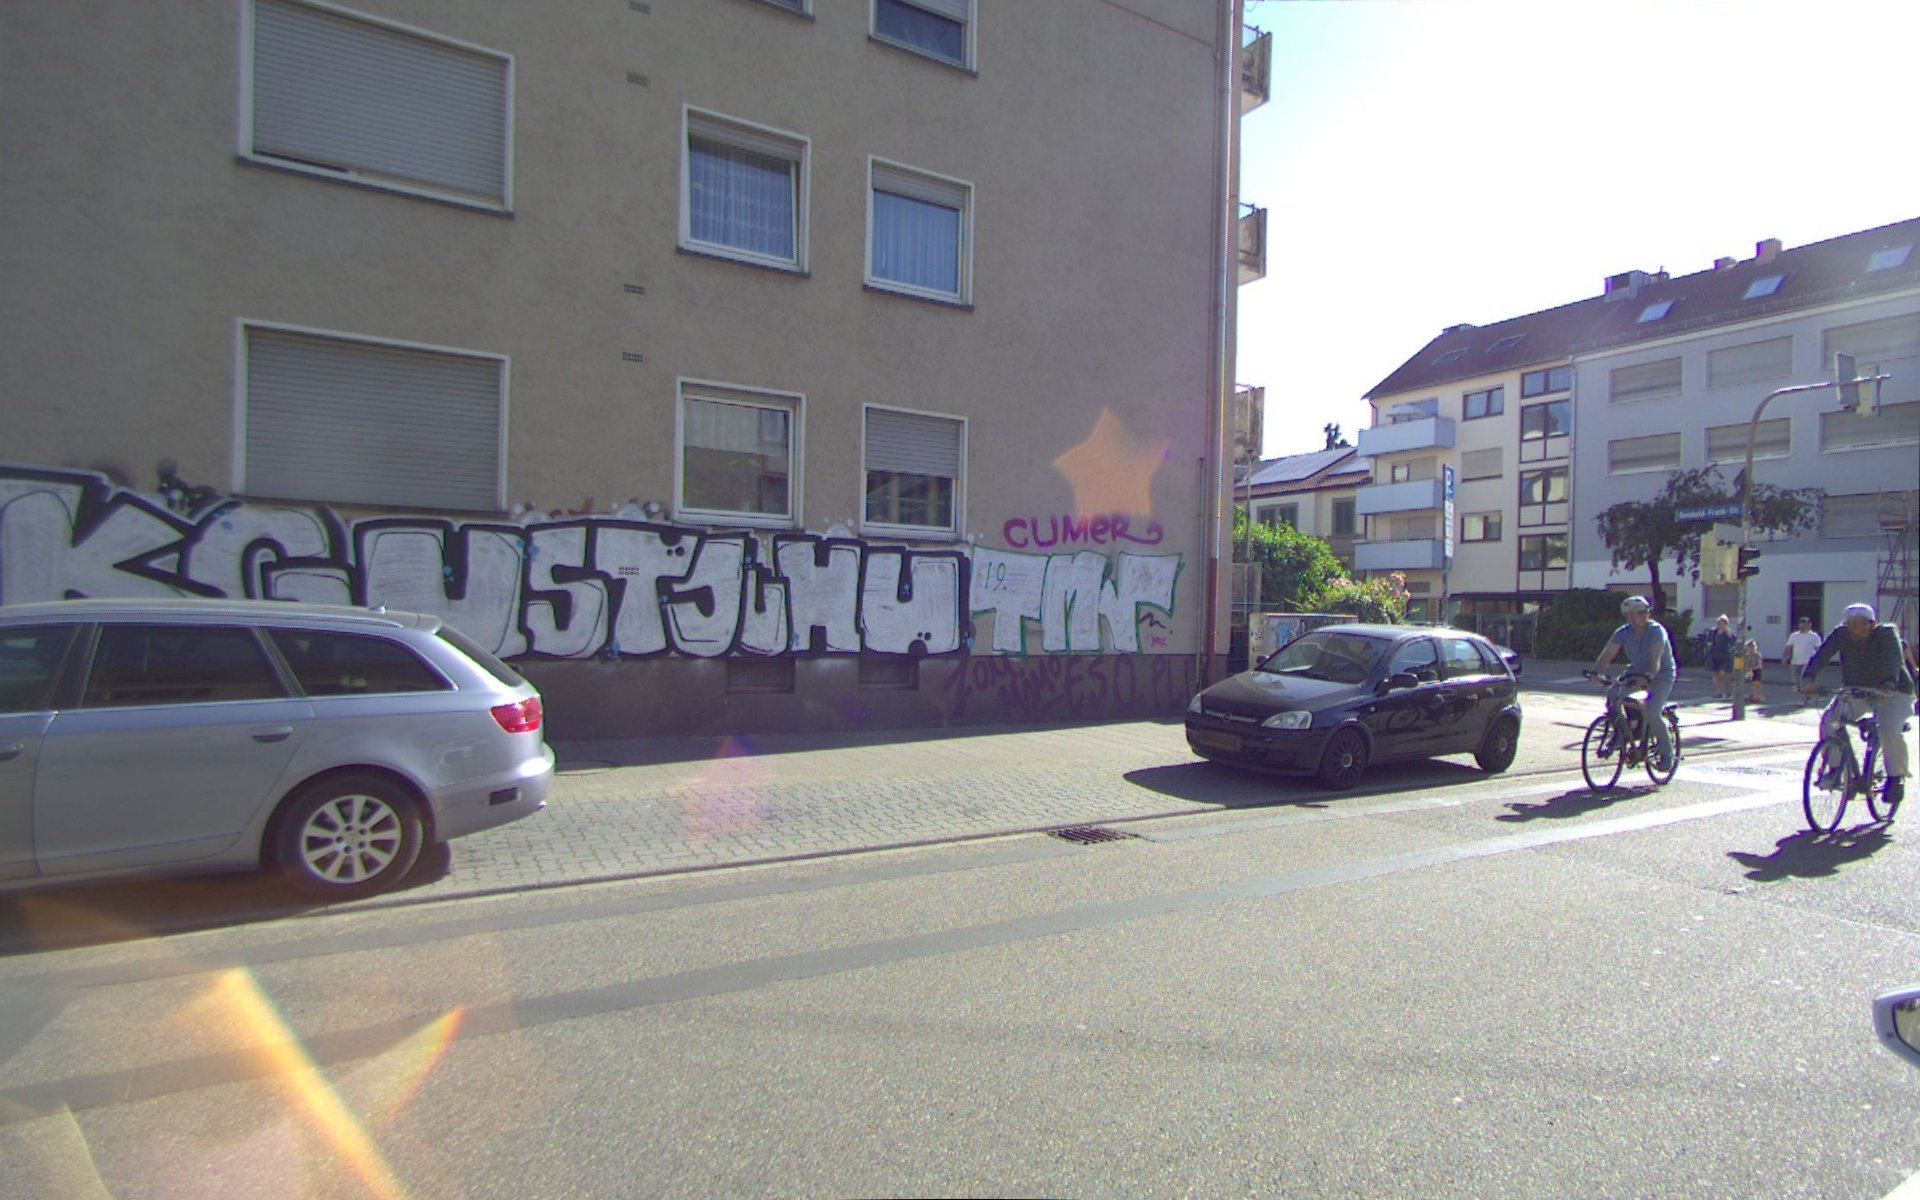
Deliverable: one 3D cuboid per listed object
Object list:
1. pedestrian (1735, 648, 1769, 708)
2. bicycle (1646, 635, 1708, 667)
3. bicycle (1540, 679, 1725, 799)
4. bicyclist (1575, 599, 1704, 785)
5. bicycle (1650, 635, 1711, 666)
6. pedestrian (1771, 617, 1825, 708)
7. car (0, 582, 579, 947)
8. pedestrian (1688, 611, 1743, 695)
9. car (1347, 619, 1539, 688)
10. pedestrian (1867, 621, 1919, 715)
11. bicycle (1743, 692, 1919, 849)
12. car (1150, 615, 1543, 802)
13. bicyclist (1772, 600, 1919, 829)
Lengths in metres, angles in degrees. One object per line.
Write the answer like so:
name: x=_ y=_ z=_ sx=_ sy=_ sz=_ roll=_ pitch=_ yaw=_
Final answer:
pedestrian: x=15.837 y=1.554 z=20.085 sx=0.526 sy=1.161 sz=0.383 roll=1 pitch=0 yaw=-32
bicycle: x=23.075 y=1.637 z=32.350 sx=0.506 sy=0.952 sz=1.583 roll=1 pitch=-1 yaw=-27
bicycle: x=6.321 y=1.251 z=9.414 sx=1.911 sy=0.964 sz=0.676 roll=1 pitch=-2 yaw=-30
bicyclist: x=6.395 y=0.835 z=9.462 sx=0.888 sy=1.652 sz=0.676 roll=1 pitch=-2 yaw=-30
bicycle: x=23.505 y=1.638 z=32.790 sx=0.506 sy=0.952 sz=1.583 roll=1 pitch=-1 yaw=-27
pedestrian: x=16.120 y=1.185 z=19.322 sx=0.661 sy=1.711 sz=0.571 roll=1 pitch=0 yaw=-28
car: x=-4.607 y=0.704 z=5.093 sx=4.748 sy=1.523 sz=1.813 roll=1 pitch=2 yaw=-32
pedestrian: x=15.813 y=1.091 z=21.021 sx=0.957 sy=1.705 sz=0.570 roll=1 pitch=0 yaw=-30
car: x=12.524 y=1.314 z=26.317 sx=1.910 sy=1.455 sz=4.235 roll=-3 pitch=2 yaw=-29
pedestrian: x=16.479 y=1.187 z=17.725 sx=0.556 sy=1.602 sz=0.529 roll=1 pitch=0 yaw=-28
bicycle: x=6.733 y=1.220 z=7.546 sx=1.911 sy=0.964 sz=0.676 roll=1 pitch=-2 yaw=-30
car: x=3.933 y=0.952 z=10.088 sx=3.813 sy=1.468 sz=1.682 roll=1 pitch=2 yaw=-32
bicyclist: x=6.727 y=0.819 z=7.558 sx=0.888 sy=1.597 sz=0.676 roll=1 pitch=-2 yaw=-30
